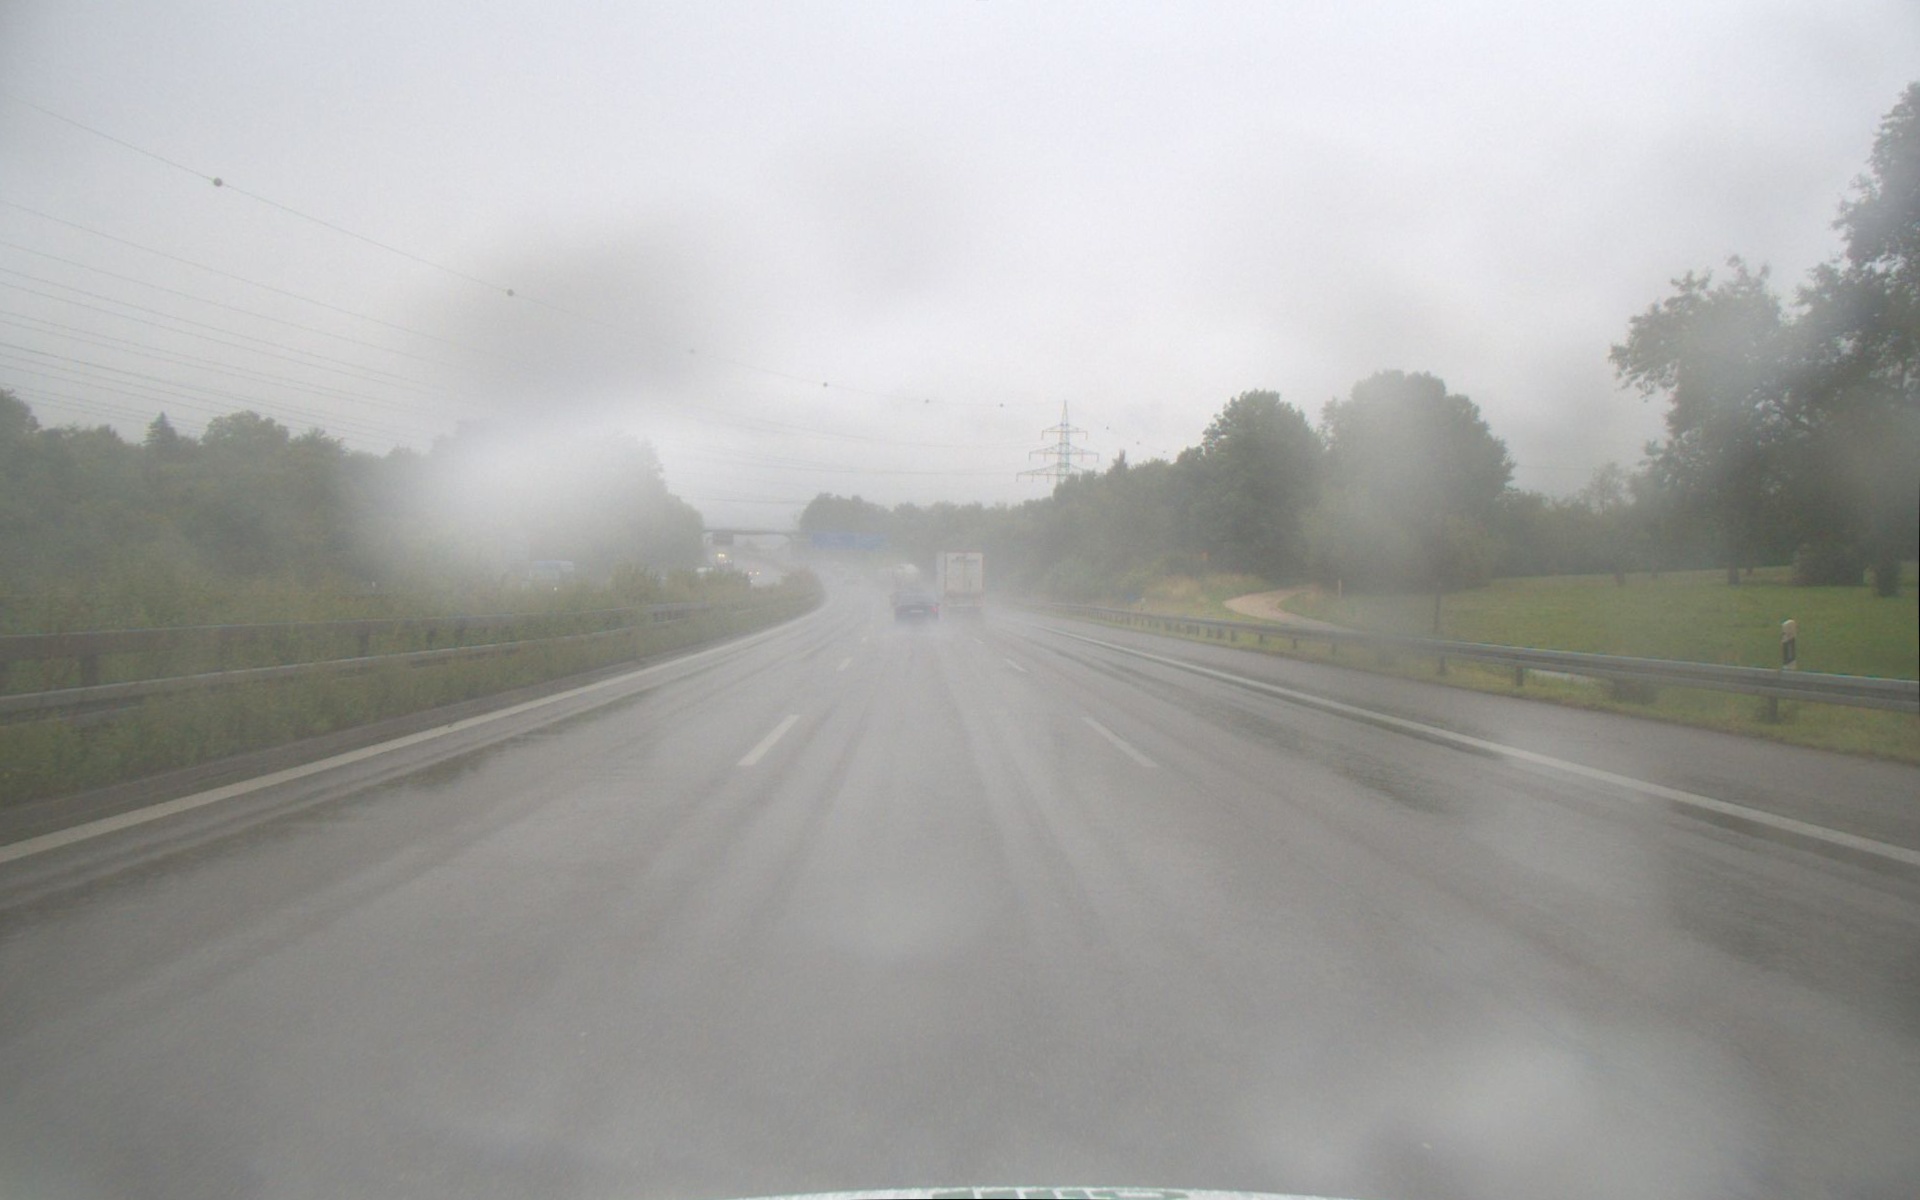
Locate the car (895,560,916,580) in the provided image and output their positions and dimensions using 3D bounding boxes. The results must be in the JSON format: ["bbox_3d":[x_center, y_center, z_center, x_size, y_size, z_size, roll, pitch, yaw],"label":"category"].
[{"bbox_3d":[-6.705,-3.665,201.746,2.346,2.312,4.999,2,1,-4],"label":"car"}]

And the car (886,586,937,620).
[{"bbox_3d":[-1.920,0.109,66.795,1.712,1.233,4.001,3,1,2],"label":"car"}]

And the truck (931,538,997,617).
[{"bbox_3d":[0.461,-1.570,115.027,4.168,5.059,17.345,0,1,2],"label":"truck"}]
